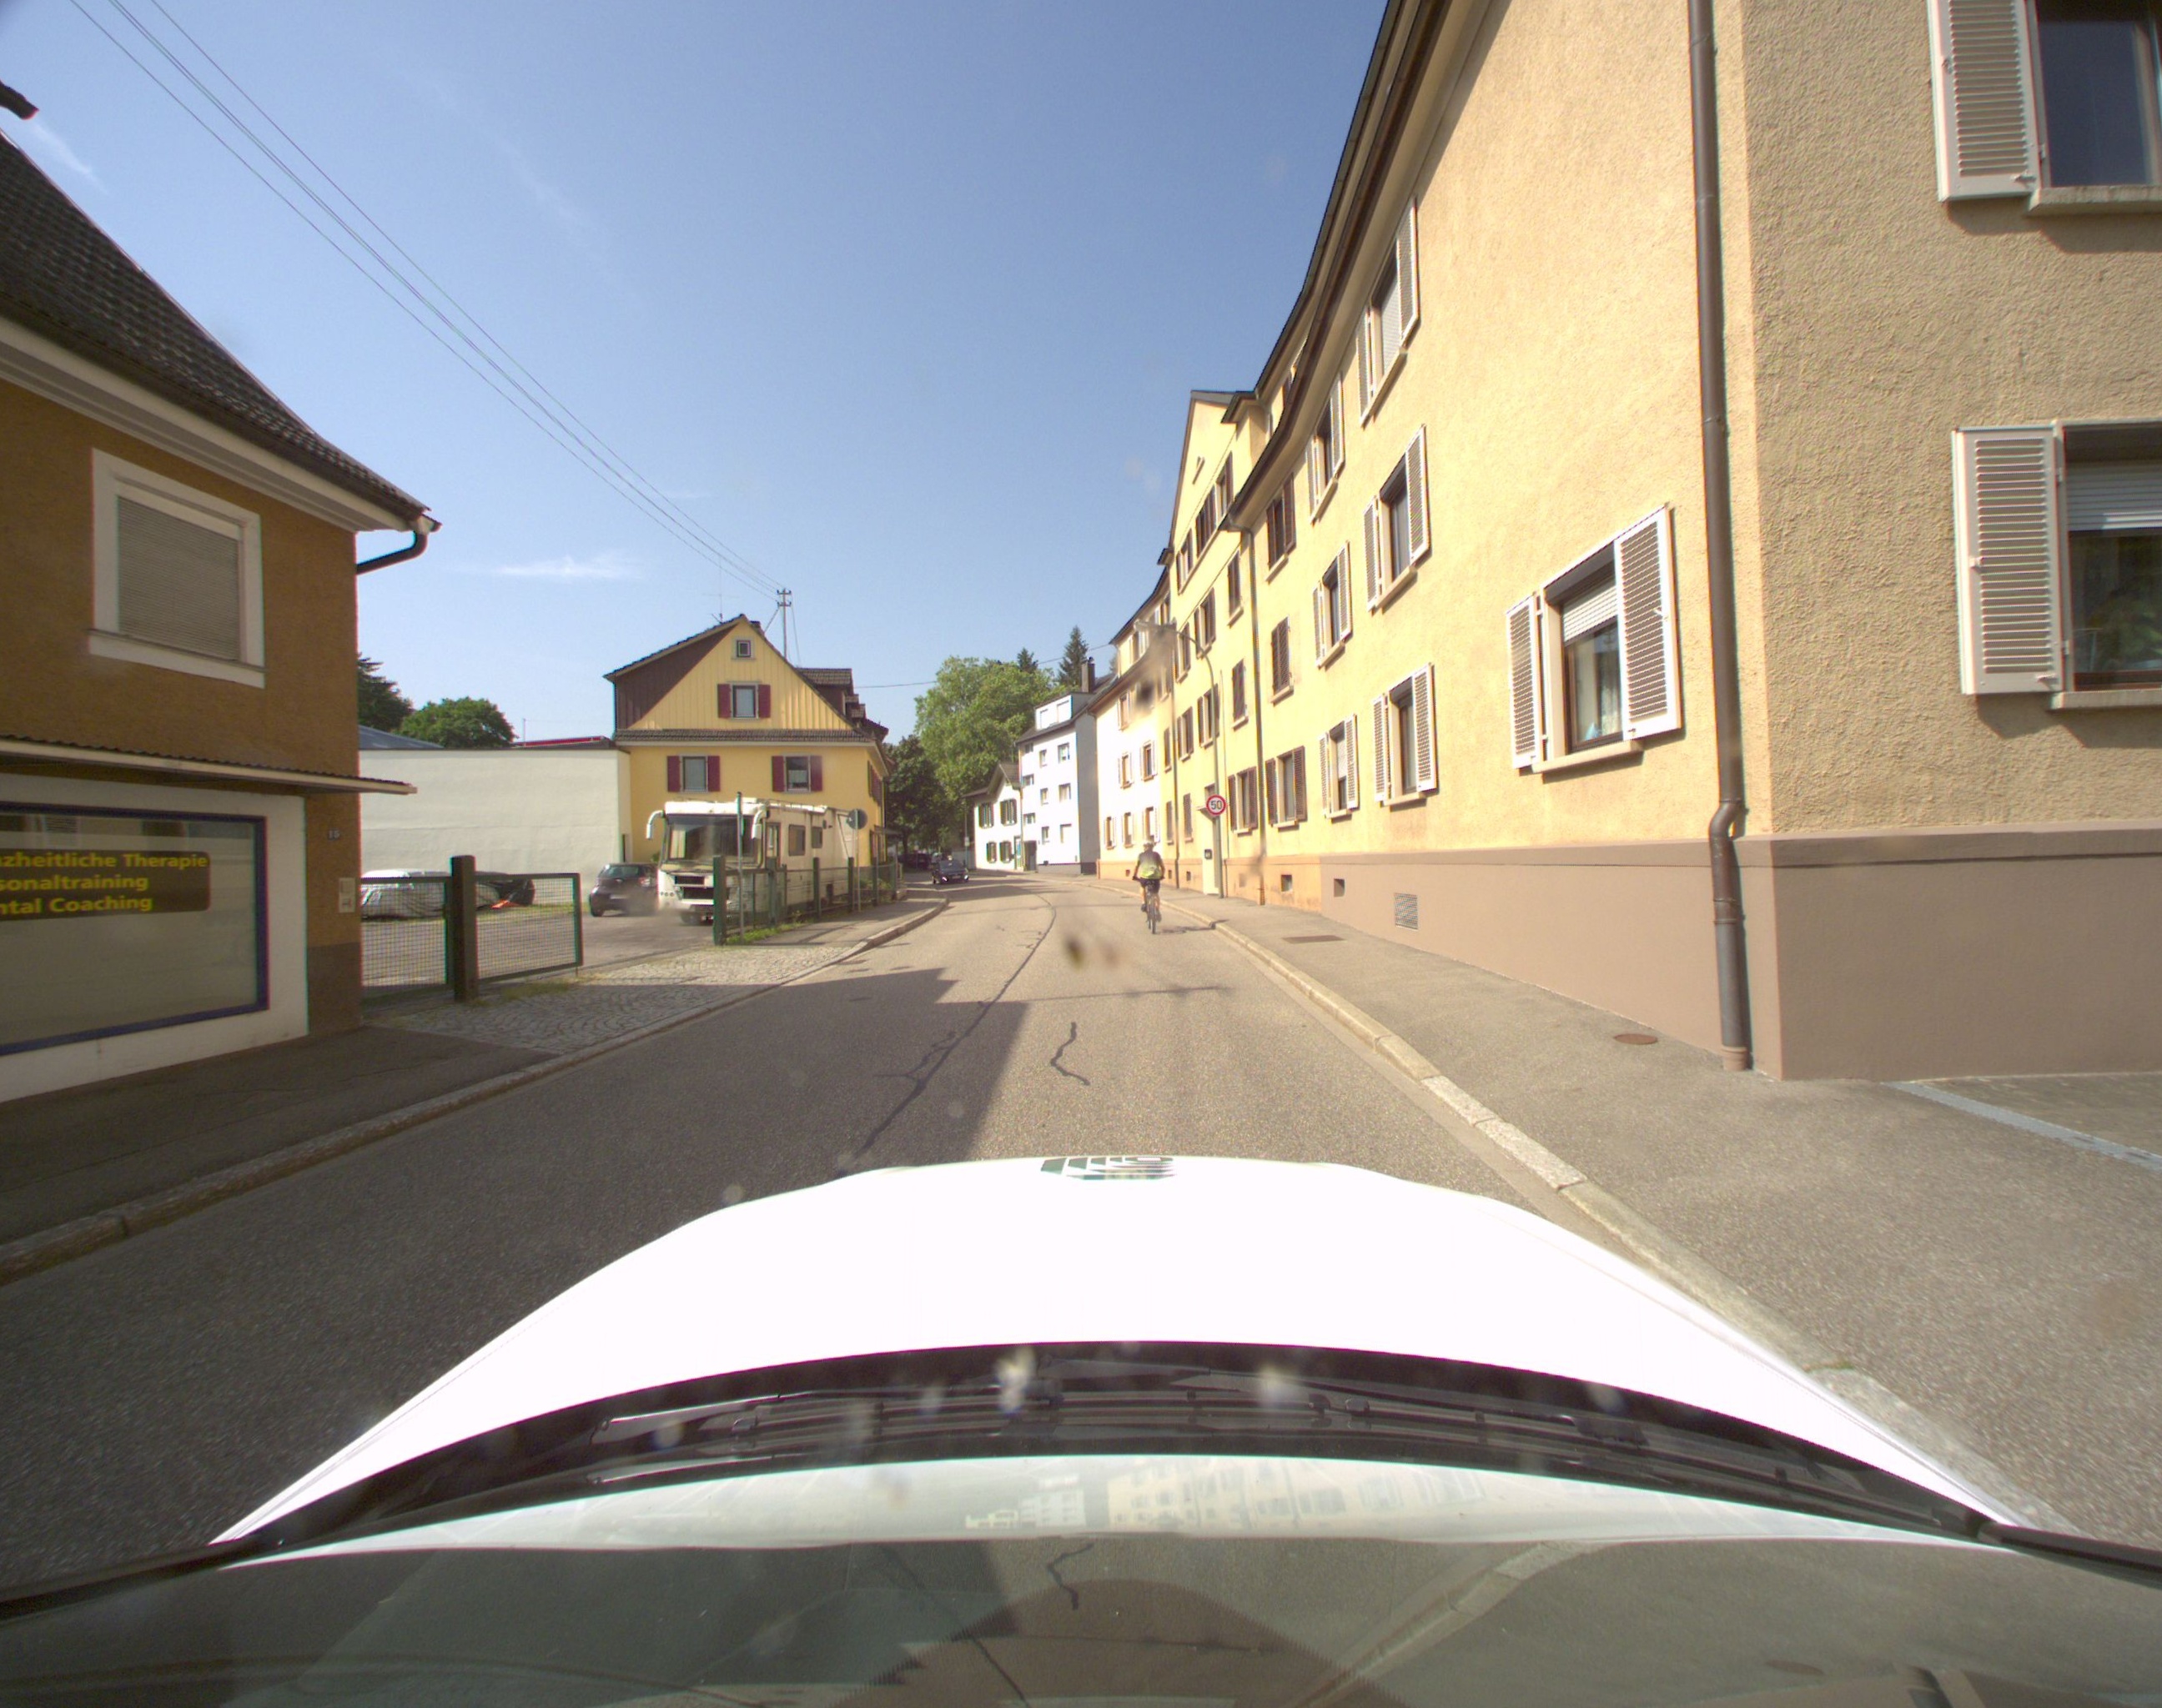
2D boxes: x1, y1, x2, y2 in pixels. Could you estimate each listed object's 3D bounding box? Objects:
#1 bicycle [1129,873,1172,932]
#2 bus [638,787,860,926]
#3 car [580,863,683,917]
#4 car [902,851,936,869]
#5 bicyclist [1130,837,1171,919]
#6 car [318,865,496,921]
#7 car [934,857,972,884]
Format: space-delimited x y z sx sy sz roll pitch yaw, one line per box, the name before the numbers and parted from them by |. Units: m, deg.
bicycle | 1.329 0.921 15.826 0.696 1.035 1.471 -1 0 0
bus | -8.986 0.055 23.591 2.812 3.228 9.032 -1 0 -1
car | -12.949 0.974 23.714 1.769 1.432 3.977 0 -1 -16
car | -17.307 0.599 86.954 1.837 1.791 3.954 -3 2 -38
bicyclist | 1.339 0.464 15.805 0.683 1.531 0.715 -2 -1 0
car | -18.268 1.006 22.337 1.589 1.269 3.998 1 1 -1
car | -8.047 0.988 50.888 1.751 1.453 4.005 -6 1 -16
